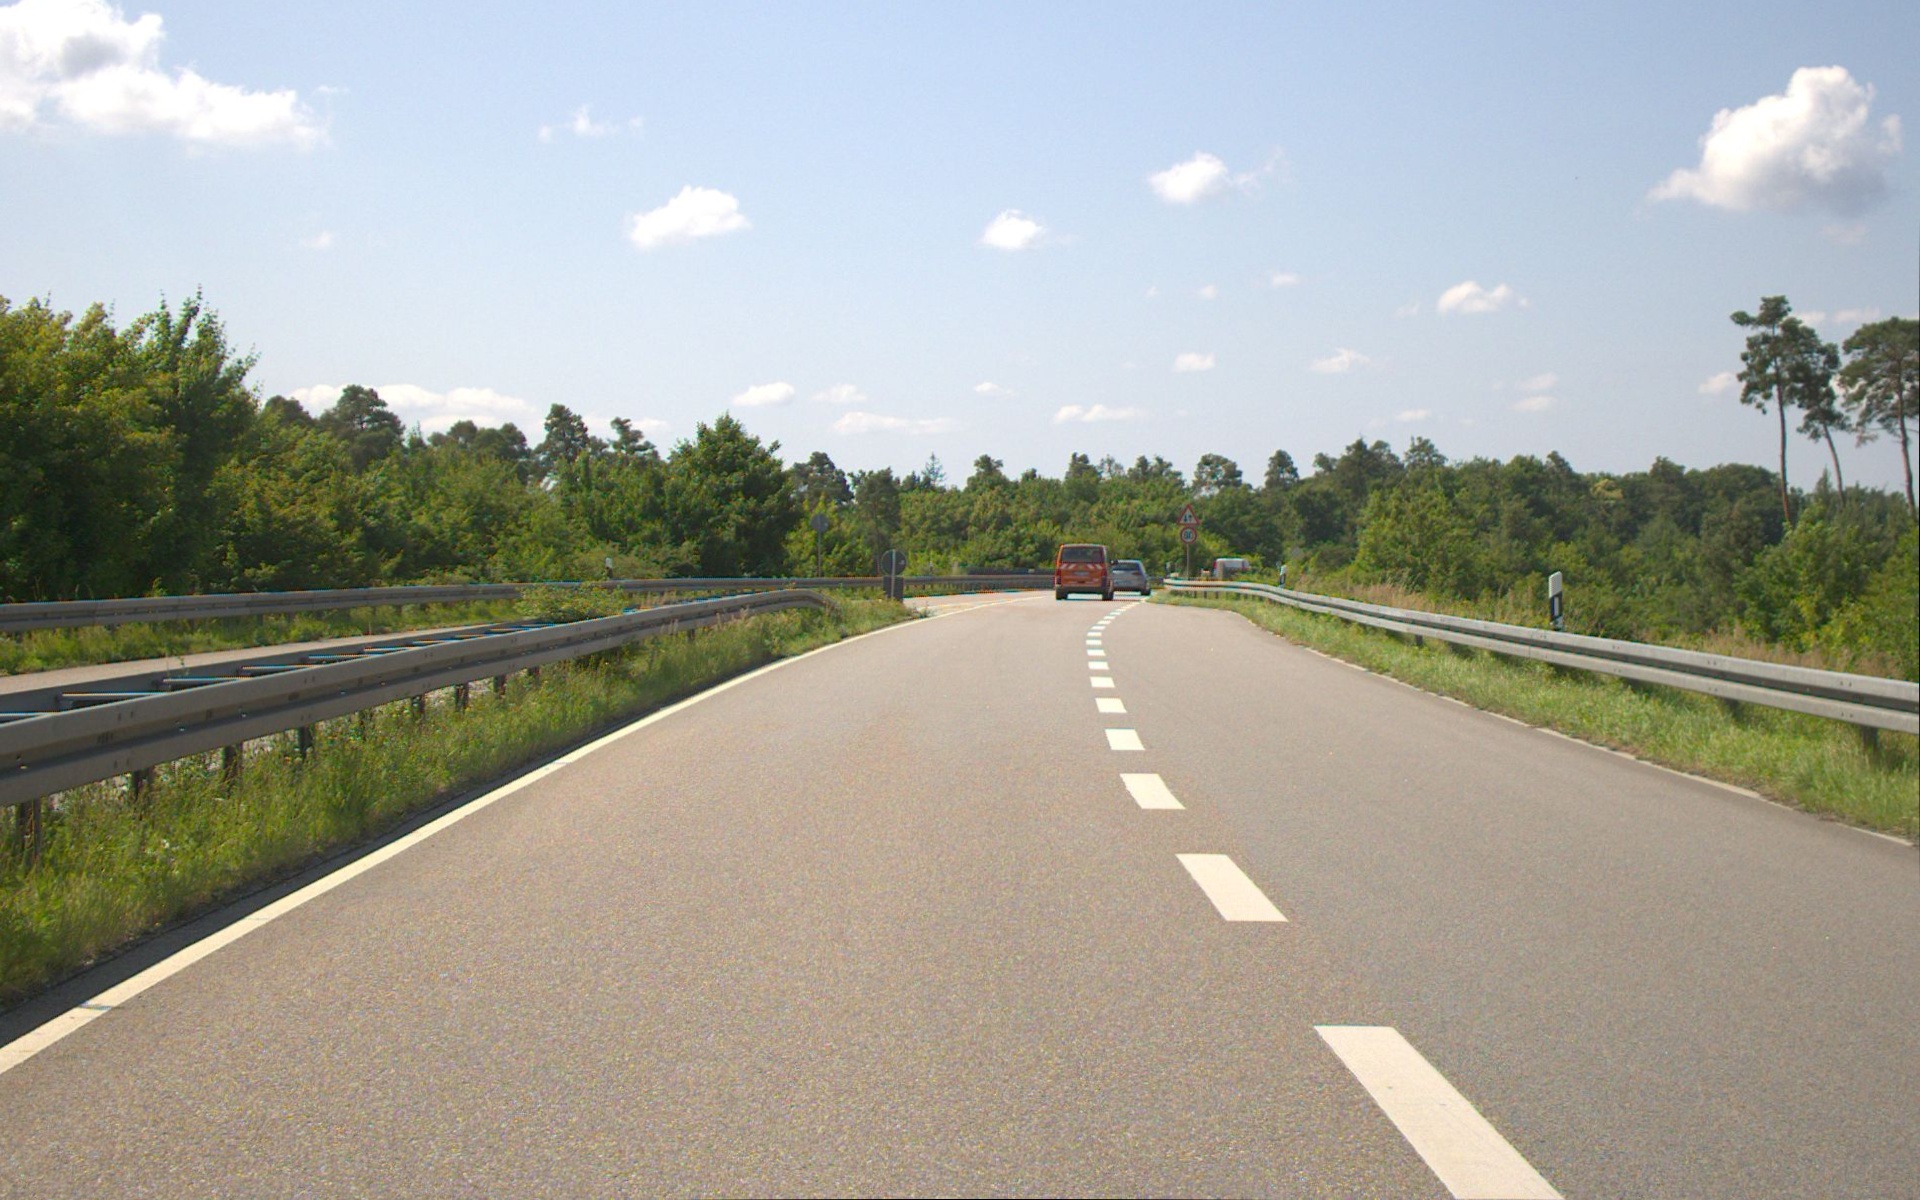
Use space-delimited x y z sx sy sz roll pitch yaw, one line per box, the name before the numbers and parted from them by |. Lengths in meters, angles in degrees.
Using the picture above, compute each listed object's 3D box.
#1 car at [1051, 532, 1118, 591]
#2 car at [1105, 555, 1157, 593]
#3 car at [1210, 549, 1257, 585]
car | 4.407 -1.332 120.919 2.078 1.986 5.111 1 0 5
car | 7.106 -1.067 142.648 2.007 1.489 4.238 1 0 5
car | 15.608 -1.847 196.141 2.185 1.948 5.801 1 0 9
